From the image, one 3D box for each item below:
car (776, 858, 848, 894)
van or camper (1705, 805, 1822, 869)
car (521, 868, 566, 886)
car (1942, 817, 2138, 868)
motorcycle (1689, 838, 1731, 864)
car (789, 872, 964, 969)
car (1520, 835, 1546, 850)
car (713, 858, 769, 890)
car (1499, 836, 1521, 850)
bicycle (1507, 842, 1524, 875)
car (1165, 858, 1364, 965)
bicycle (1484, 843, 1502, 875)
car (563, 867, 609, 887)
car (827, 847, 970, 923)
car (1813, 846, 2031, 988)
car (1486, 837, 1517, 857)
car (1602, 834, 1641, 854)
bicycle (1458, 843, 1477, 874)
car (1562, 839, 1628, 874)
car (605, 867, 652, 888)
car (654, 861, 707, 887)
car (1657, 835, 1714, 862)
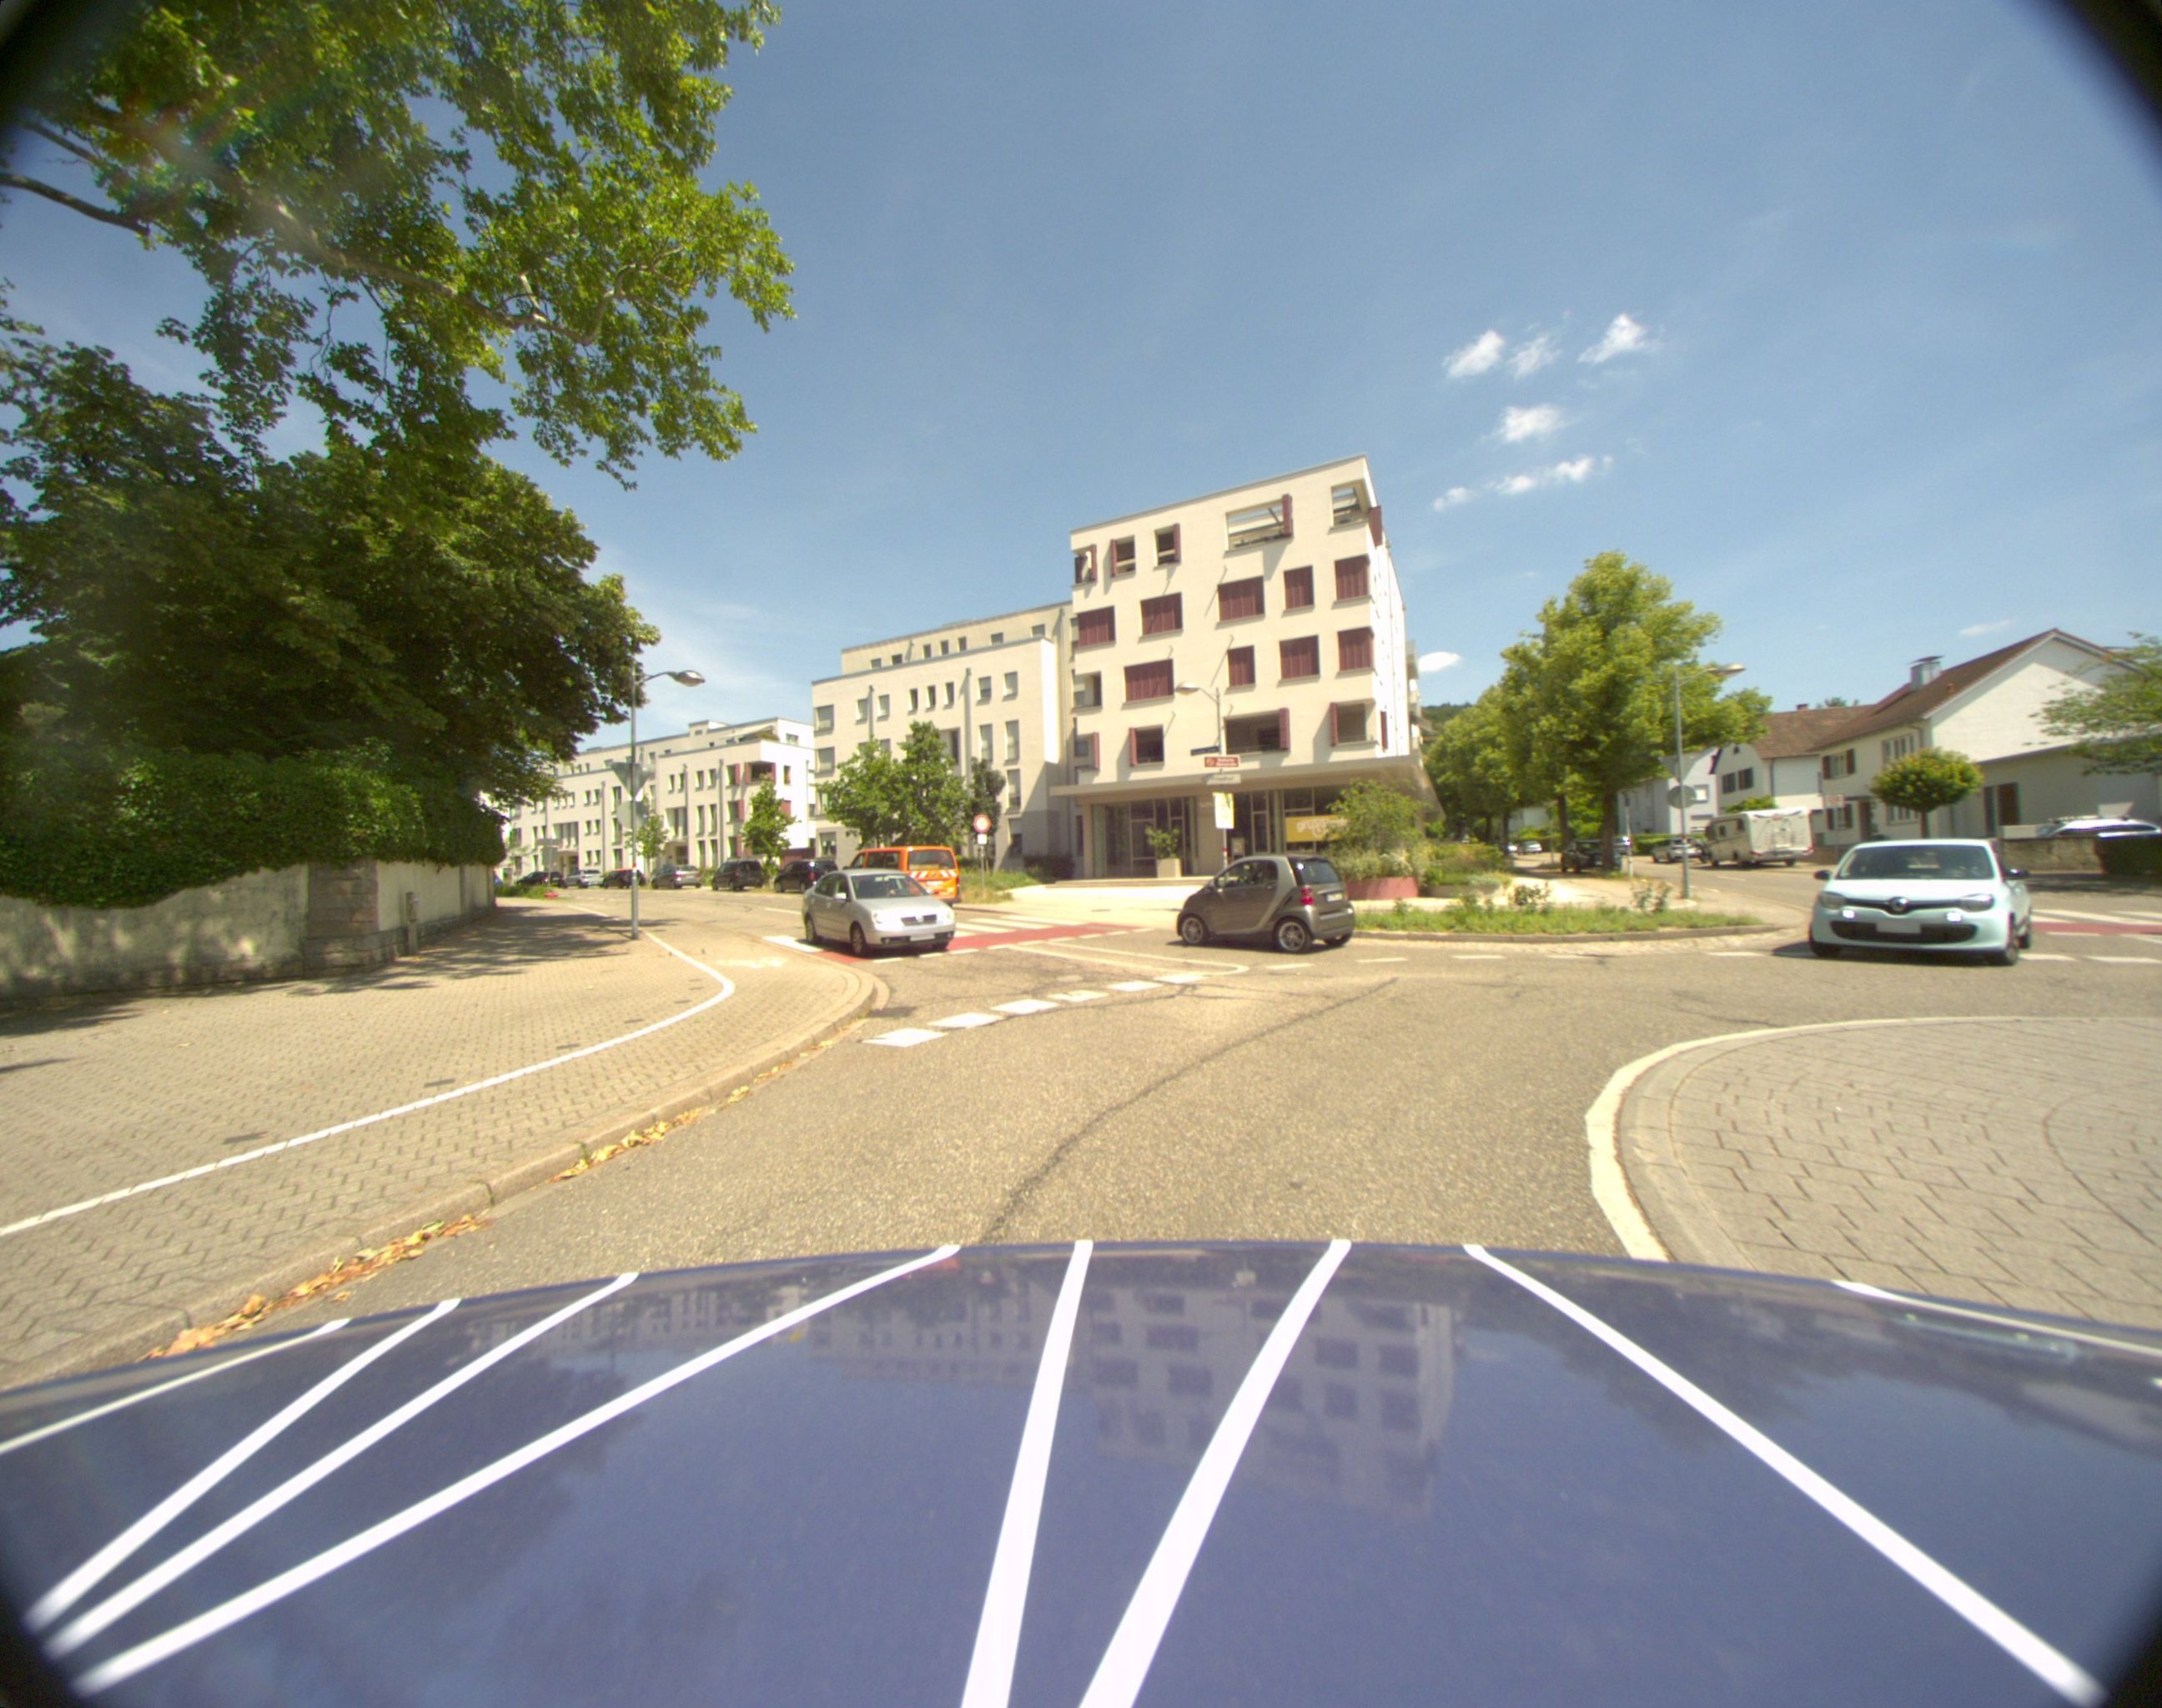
[{"bbox_3d":[-13.287,1.053,37.405,4.009,1.628,1.703,-1,1,44],"label":"car"},{"bbox_3d":[32.167,-0.779,36.092,2.269,2.622,5.895,-4,-1,24],"label":"van or camper"},{"bbox_3d":[-44.026,1.901,62.262,3.711,1.405,1.710,-1,1,33],"label":"car"},{"bbox_3d":[32.602,-0.375,25.952,3.986,1.576,1.758,-2,0,10],"label":"car"},{"bbox_3d":[34.240,-0.171,41.360,2.235,1.312,0.738,-1,1,-19],"label":"motorcycle"},{"bbox_3d":[-3.888,1.096,14.007,1.611,1.443,3.989,-2,1,-39],"label":"car"},{"bbox_3d":[51.938,-1.321,87.425,1.995,1.657,4.005,-1,1,22],"label":"car"},{"bbox_3d":[-19.488,1.133,43.515,3.617,1.690,1.703,-1,1,44],"label":"car"},{"bbox_3d":[55.490,-1.388,98.280,1.995,1.657,4.005,-1,1,22],"label":"car"},{"bbox_3d":[18.968,0.183,33.145,0.569,1.370,1.751,-1,1,32],"label":"bicycle"},{"bbox_3d":[2.997,0.867,12.617,2.781,1.521,1.573,-1,1,45],"label":"car"},{"bbox_3d":[18.226,0.224,33.626,0.569,1.370,1.751,-1,1,32],"label":"bicycle"},{"bbox_3d":[-38.310,1.779,58.803,3.711,1.405,1.710,-1,1,35],"label":"car"},{"bbox_3d":[-5.535,0.837,22.601,1.954,1.948,5.007,-3,2,-41],"label":"car"},{"bbox_3d":[11.360,0.697,10.184,4.170,1.516,1.656,-1,-1,-38],"label":"car"},{"bbox_3d":[38.555,-0.667,69.716,1.995,1.657,4.005,-1,1,22],"label":"car"},{"bbox_3d":[41.945,-0.784,59.070,1.752,1.496,3.999,-2,0,25],"label":"car"},{"bbox_3d":[17.401,0.198,34.174,0.569,1.370,1.751,-1,1,32],"label":"bicycle"},{"bbox_3d":[23.757,0.095,35.247,1.752,1.496,3.999,-2,0,23],"label":"car"},{"bbox_3d":[-32.849,1.684,55.155,3.617,1.405,1.710,-1,1,38],"label":"car"},{"bbox_3d":[-26.407,1.312,50.119,3.617,1.580,1.795,-1,1,40],"label":"car"},{"bbox_3d":[35.968,-0.340,45.298,1.752,1.496,3.999,-2,0,25],"label":"car"}]
